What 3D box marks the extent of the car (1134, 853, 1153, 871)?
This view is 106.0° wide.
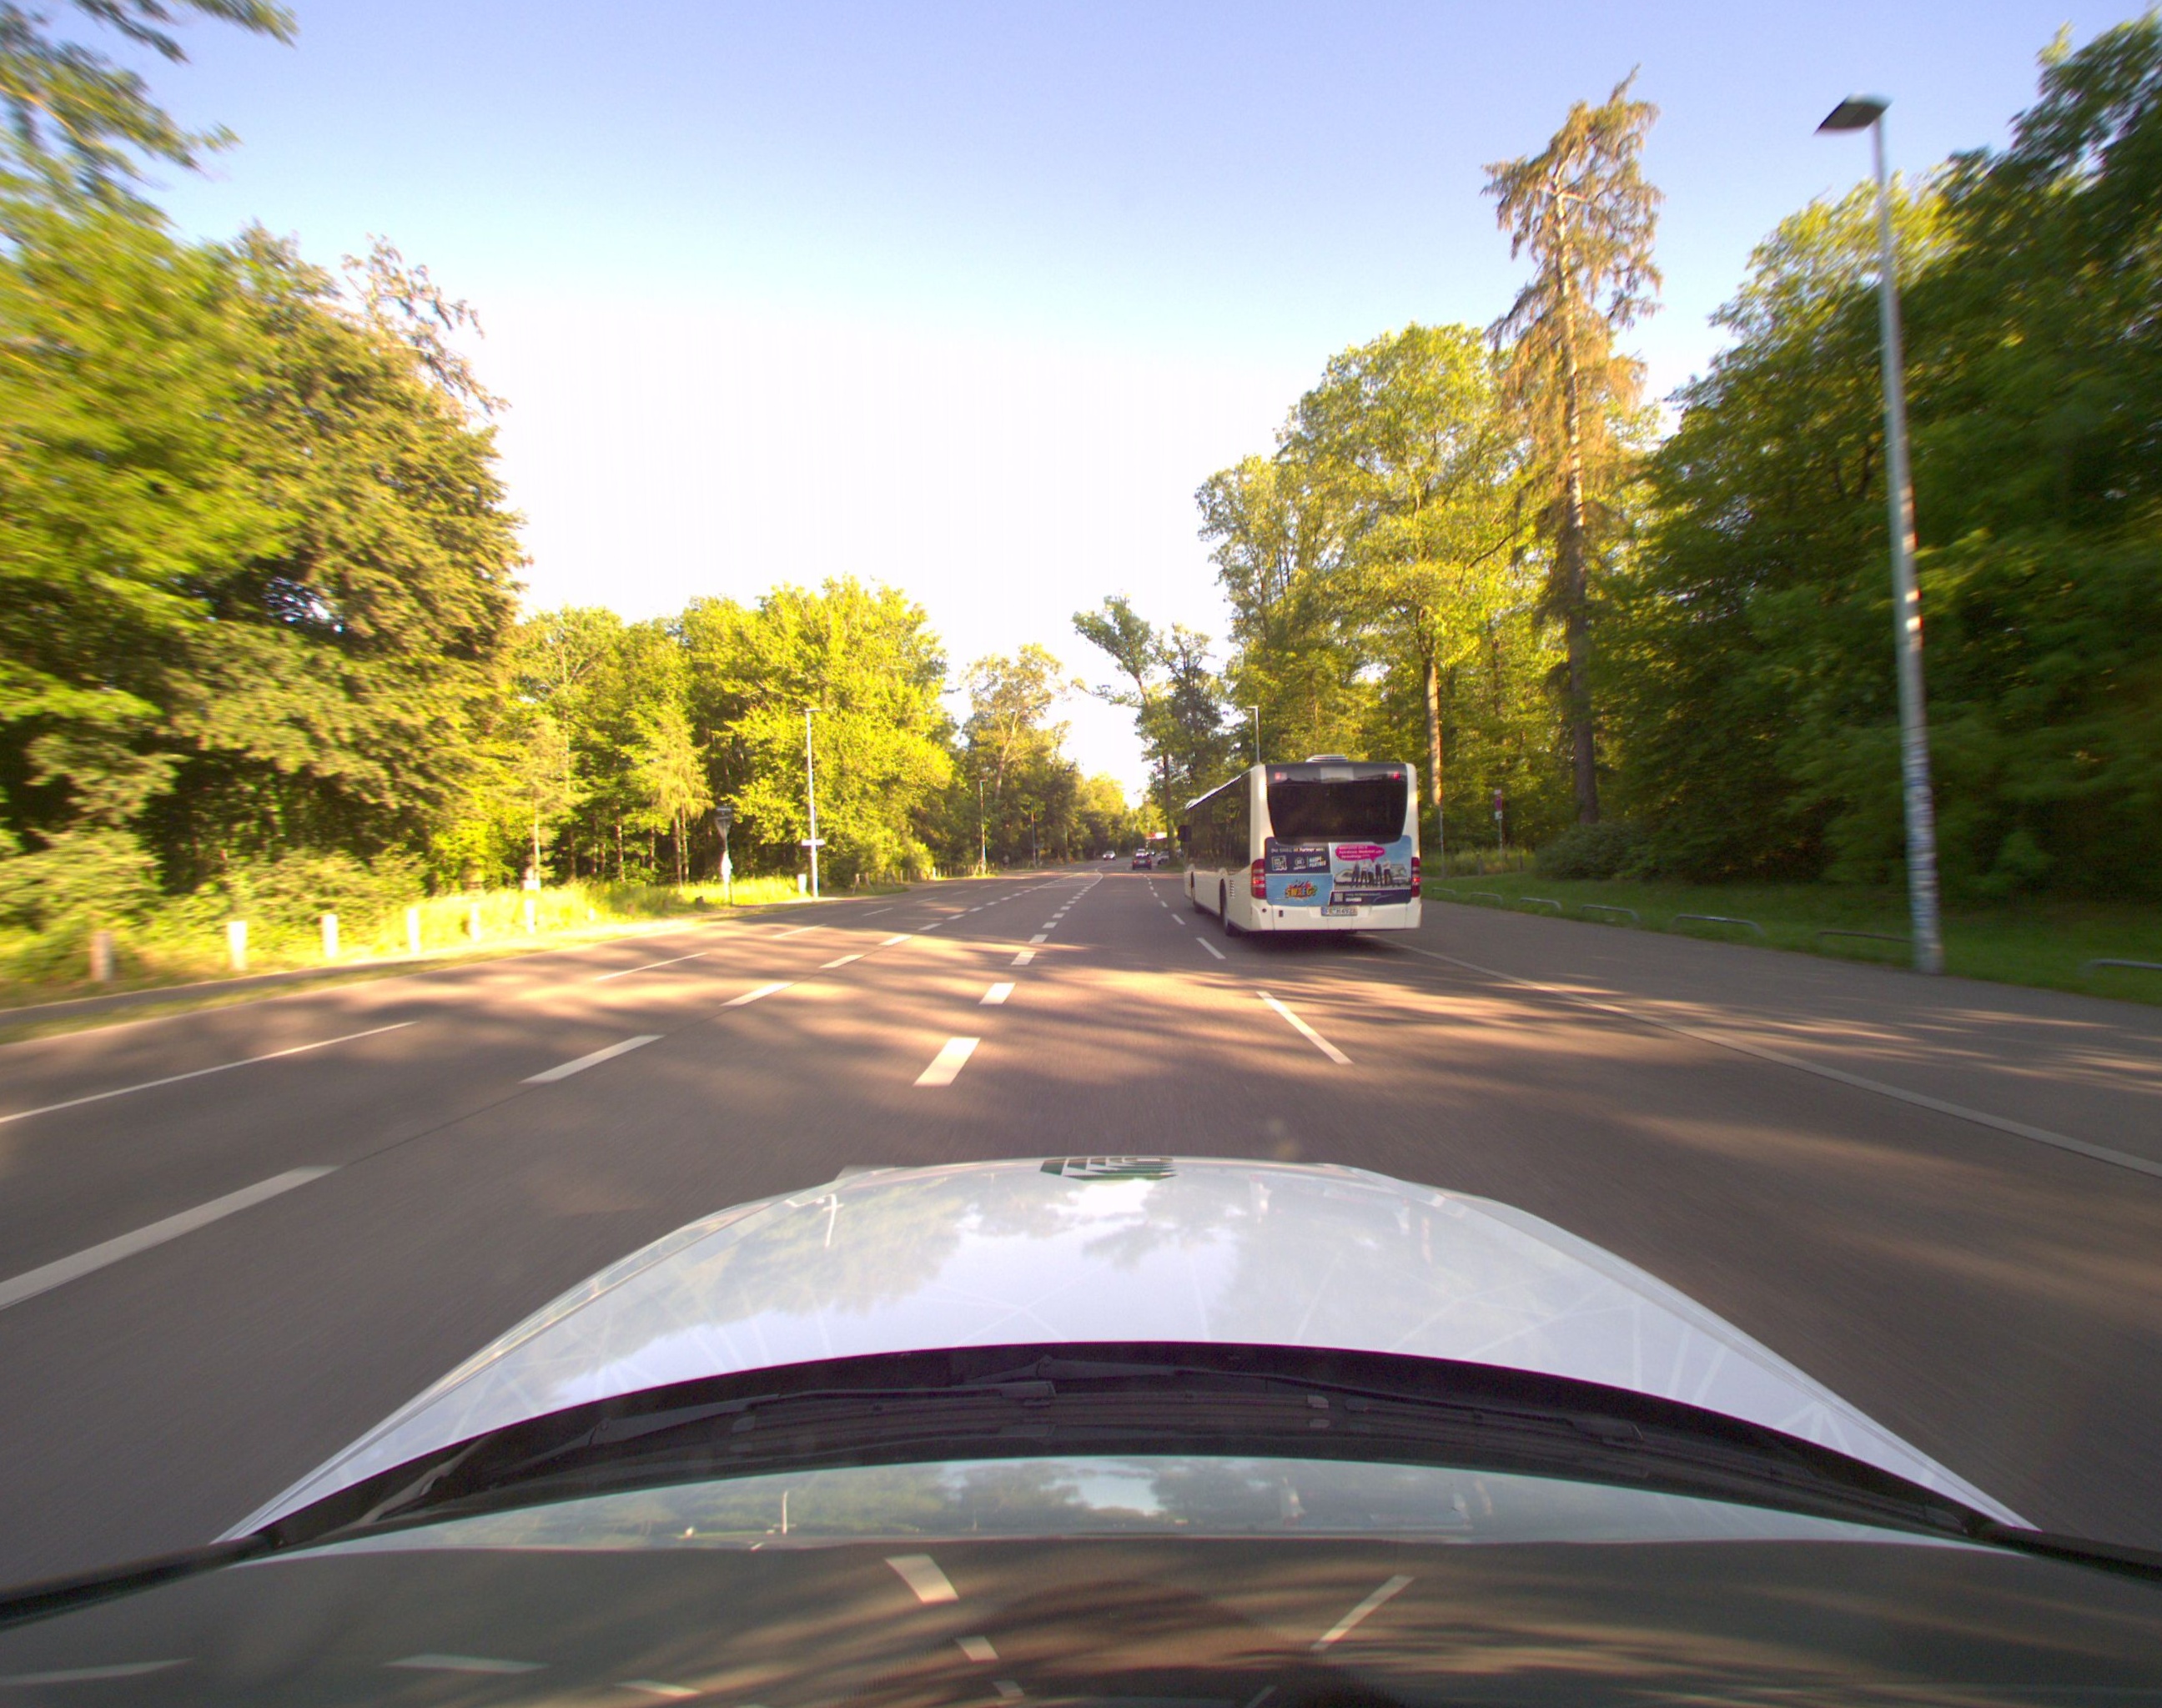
[{"bbox_3d":[5.833,0.734,75.727,1.623,1.547,4.139,-1,-1,6],"label":"car"}]

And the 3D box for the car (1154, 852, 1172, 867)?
[{"bbox_3d":[9.367,0.643,92.567,1.621,1.659,4.145,-1,-1,12],"label":"car"}]

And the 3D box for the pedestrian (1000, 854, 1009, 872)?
[{"bbox_3d":[-8.037,0.929,85.590,0.776,1.812,0.770,-2,0,2],"label":"pedestrian"}]

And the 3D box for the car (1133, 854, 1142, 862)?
[{"bbox_3d":[11.620,0.832,168.781,1.855,1.729,4.004,-1,-1,3],"label":"car"}]

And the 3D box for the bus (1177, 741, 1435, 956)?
[{"bbox_3d":[3.946,-0.023,17.764,2.679,3.042,12.046,-1,-1,2],"label":"bus"}]

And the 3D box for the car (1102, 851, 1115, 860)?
[{"bbox_3d":[4.908,0.350,144.078,1.853,1.537,4.139,-1,-1,6],"label":"car"}]

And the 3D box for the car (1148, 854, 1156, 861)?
[{"bbox_3d":[16.925,0.878,193.221,1.854,1.565,4.005,0,-1,5],"label":"car"}]
